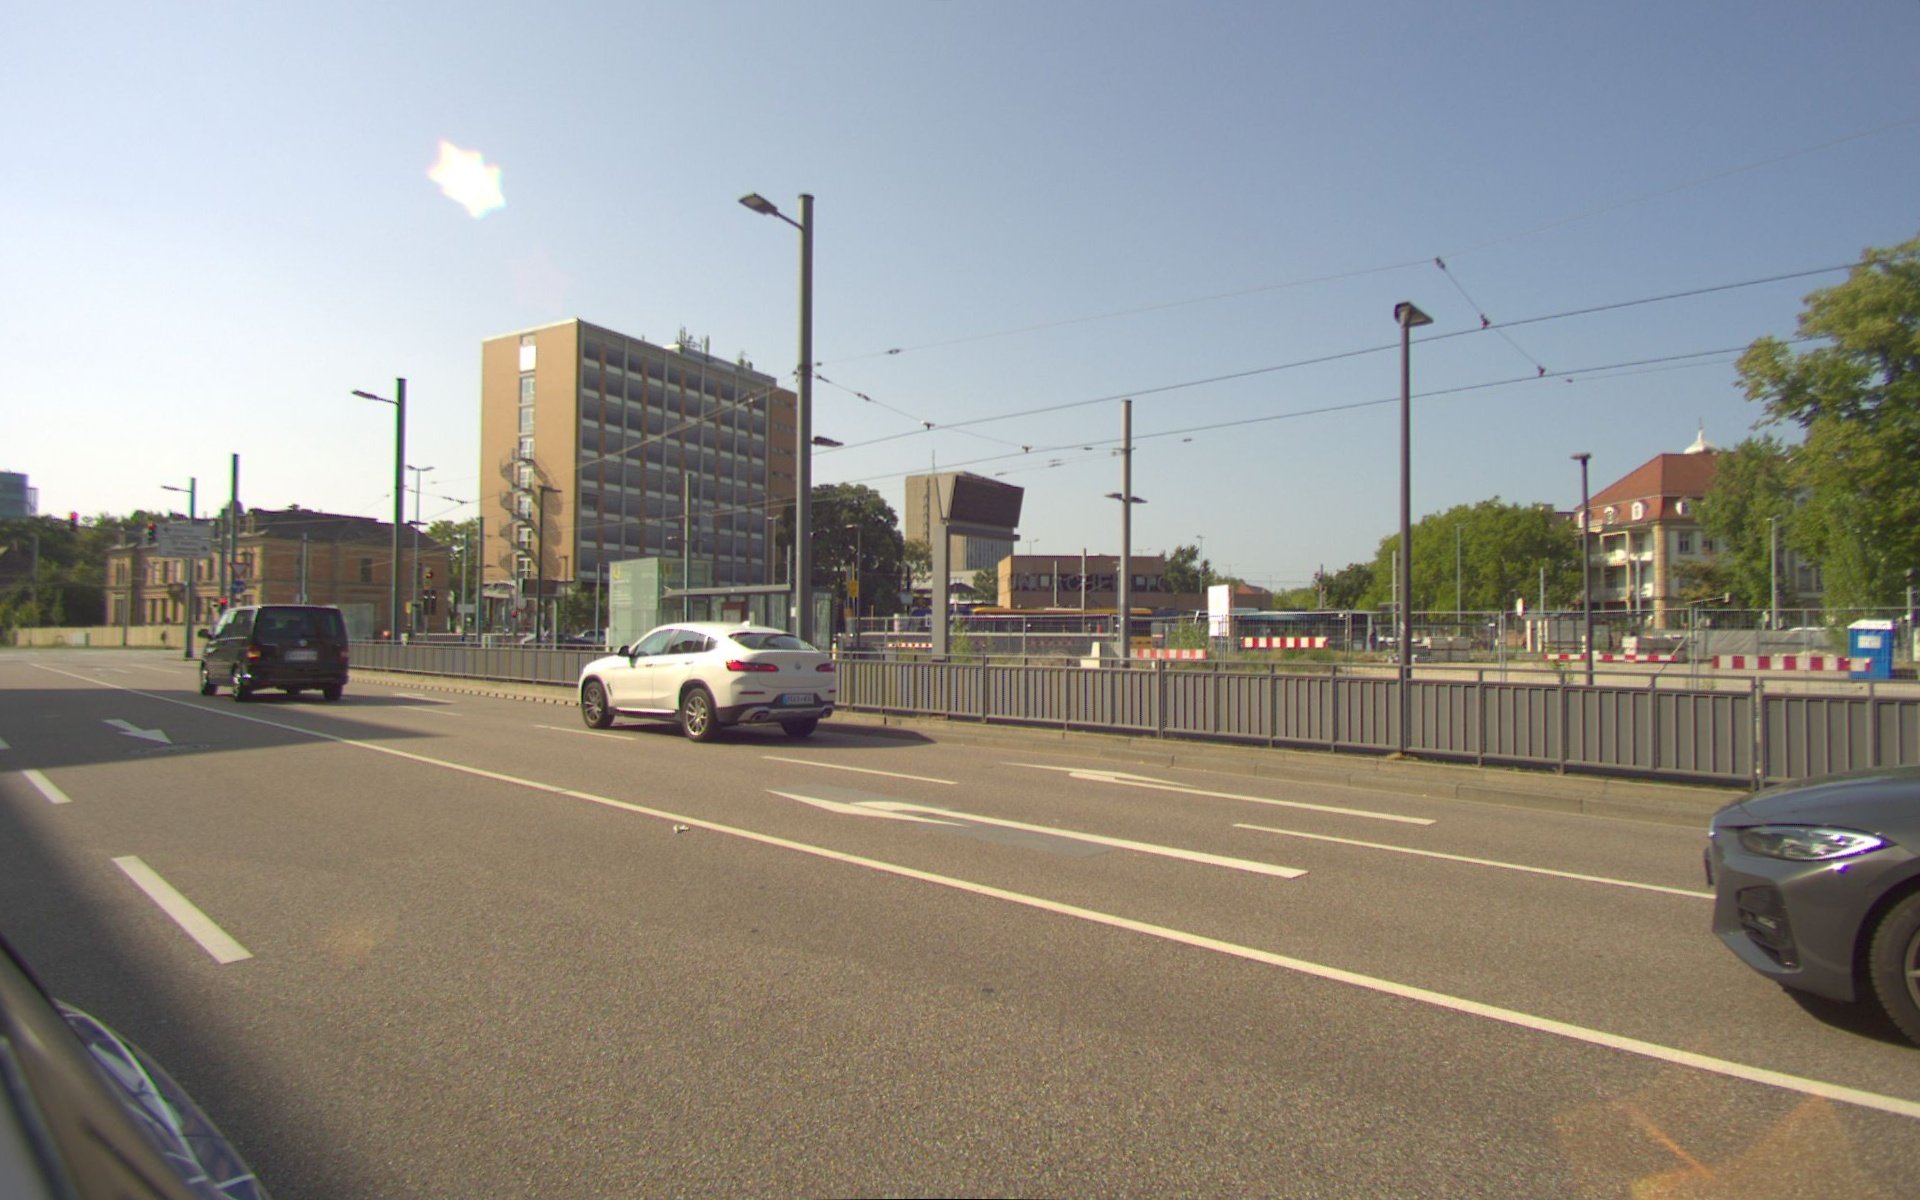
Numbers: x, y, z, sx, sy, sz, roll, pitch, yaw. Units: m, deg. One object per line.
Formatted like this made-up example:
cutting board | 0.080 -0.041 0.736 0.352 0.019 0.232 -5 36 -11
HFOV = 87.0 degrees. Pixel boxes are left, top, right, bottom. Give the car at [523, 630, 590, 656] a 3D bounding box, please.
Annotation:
car | -30.325 3.215 76.033 4.495 1.866 2.006 2 -2 -25

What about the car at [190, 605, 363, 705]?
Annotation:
car | -14.714 1.142 21.678 4.716 1.919 1.972 -1 -4 43

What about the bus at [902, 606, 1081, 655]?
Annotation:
bus | 2.282 2.310 76.036 13.118 3.445 3.227 0 -2 -3

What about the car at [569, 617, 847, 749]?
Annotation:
car | -3.776 1.116 14.703 4.504 1.624 1.694 -1 -4 43

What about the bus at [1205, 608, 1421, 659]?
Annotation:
bus | 23.092 2.213 66.578 13.117 3.203 3.227 0 -2 -3

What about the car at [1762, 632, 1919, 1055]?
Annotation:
car | 5.006 0.783 2.585 4.520 1.341 1.694 -1 -4 43

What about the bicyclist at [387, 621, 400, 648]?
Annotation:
bicyclist | -34.818 2.110 62.232 0.579 1.669 0.792 2 -3 -36

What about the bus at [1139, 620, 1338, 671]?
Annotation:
bus | 19.411 3.181 71.025 13.118 3.445 3.227 0 -2 -3

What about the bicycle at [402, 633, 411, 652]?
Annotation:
bicycle | -35.458 2.711 64.796 0.371 1.174 1.864 1 -3 -32

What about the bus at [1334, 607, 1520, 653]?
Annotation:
bus | 36.217 2.354 78.730 13.118 3.445 3.227 0 -2 -3

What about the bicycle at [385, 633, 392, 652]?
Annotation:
bicycle | -36.175 2.668 64.076 0.306 1.174 1.503 1 -3 -32

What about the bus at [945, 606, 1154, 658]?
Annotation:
bus | 5.662 2.092 65.565 13.117 3.203 3.228 1 -2 -4

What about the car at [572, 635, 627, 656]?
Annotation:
car | -31.543 4.007 88.494 4.216 1.720 1.958 2 -5 -31

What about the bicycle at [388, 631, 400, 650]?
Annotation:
bicycle | -34.837 2.489 62.239 0.396 1.118 1.750 2 -3 -36

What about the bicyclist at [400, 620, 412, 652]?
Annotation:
bicyclist | -35.406 2.294 64.718 0.571 1.989 0.810 1 -3 -33

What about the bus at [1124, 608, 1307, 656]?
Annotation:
bus | 19.384 2.469 77.238 13.118 3.445 3.227 0 -2 -3

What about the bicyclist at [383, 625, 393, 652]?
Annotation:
bicyclist | -36.207 2.441 64.057 0.503 1.643 0.810 1 -3 -33

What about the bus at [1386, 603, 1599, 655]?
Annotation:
bus | 36.519 2.016 69.691 13.118 3.445 3.227 0 -2 -3
